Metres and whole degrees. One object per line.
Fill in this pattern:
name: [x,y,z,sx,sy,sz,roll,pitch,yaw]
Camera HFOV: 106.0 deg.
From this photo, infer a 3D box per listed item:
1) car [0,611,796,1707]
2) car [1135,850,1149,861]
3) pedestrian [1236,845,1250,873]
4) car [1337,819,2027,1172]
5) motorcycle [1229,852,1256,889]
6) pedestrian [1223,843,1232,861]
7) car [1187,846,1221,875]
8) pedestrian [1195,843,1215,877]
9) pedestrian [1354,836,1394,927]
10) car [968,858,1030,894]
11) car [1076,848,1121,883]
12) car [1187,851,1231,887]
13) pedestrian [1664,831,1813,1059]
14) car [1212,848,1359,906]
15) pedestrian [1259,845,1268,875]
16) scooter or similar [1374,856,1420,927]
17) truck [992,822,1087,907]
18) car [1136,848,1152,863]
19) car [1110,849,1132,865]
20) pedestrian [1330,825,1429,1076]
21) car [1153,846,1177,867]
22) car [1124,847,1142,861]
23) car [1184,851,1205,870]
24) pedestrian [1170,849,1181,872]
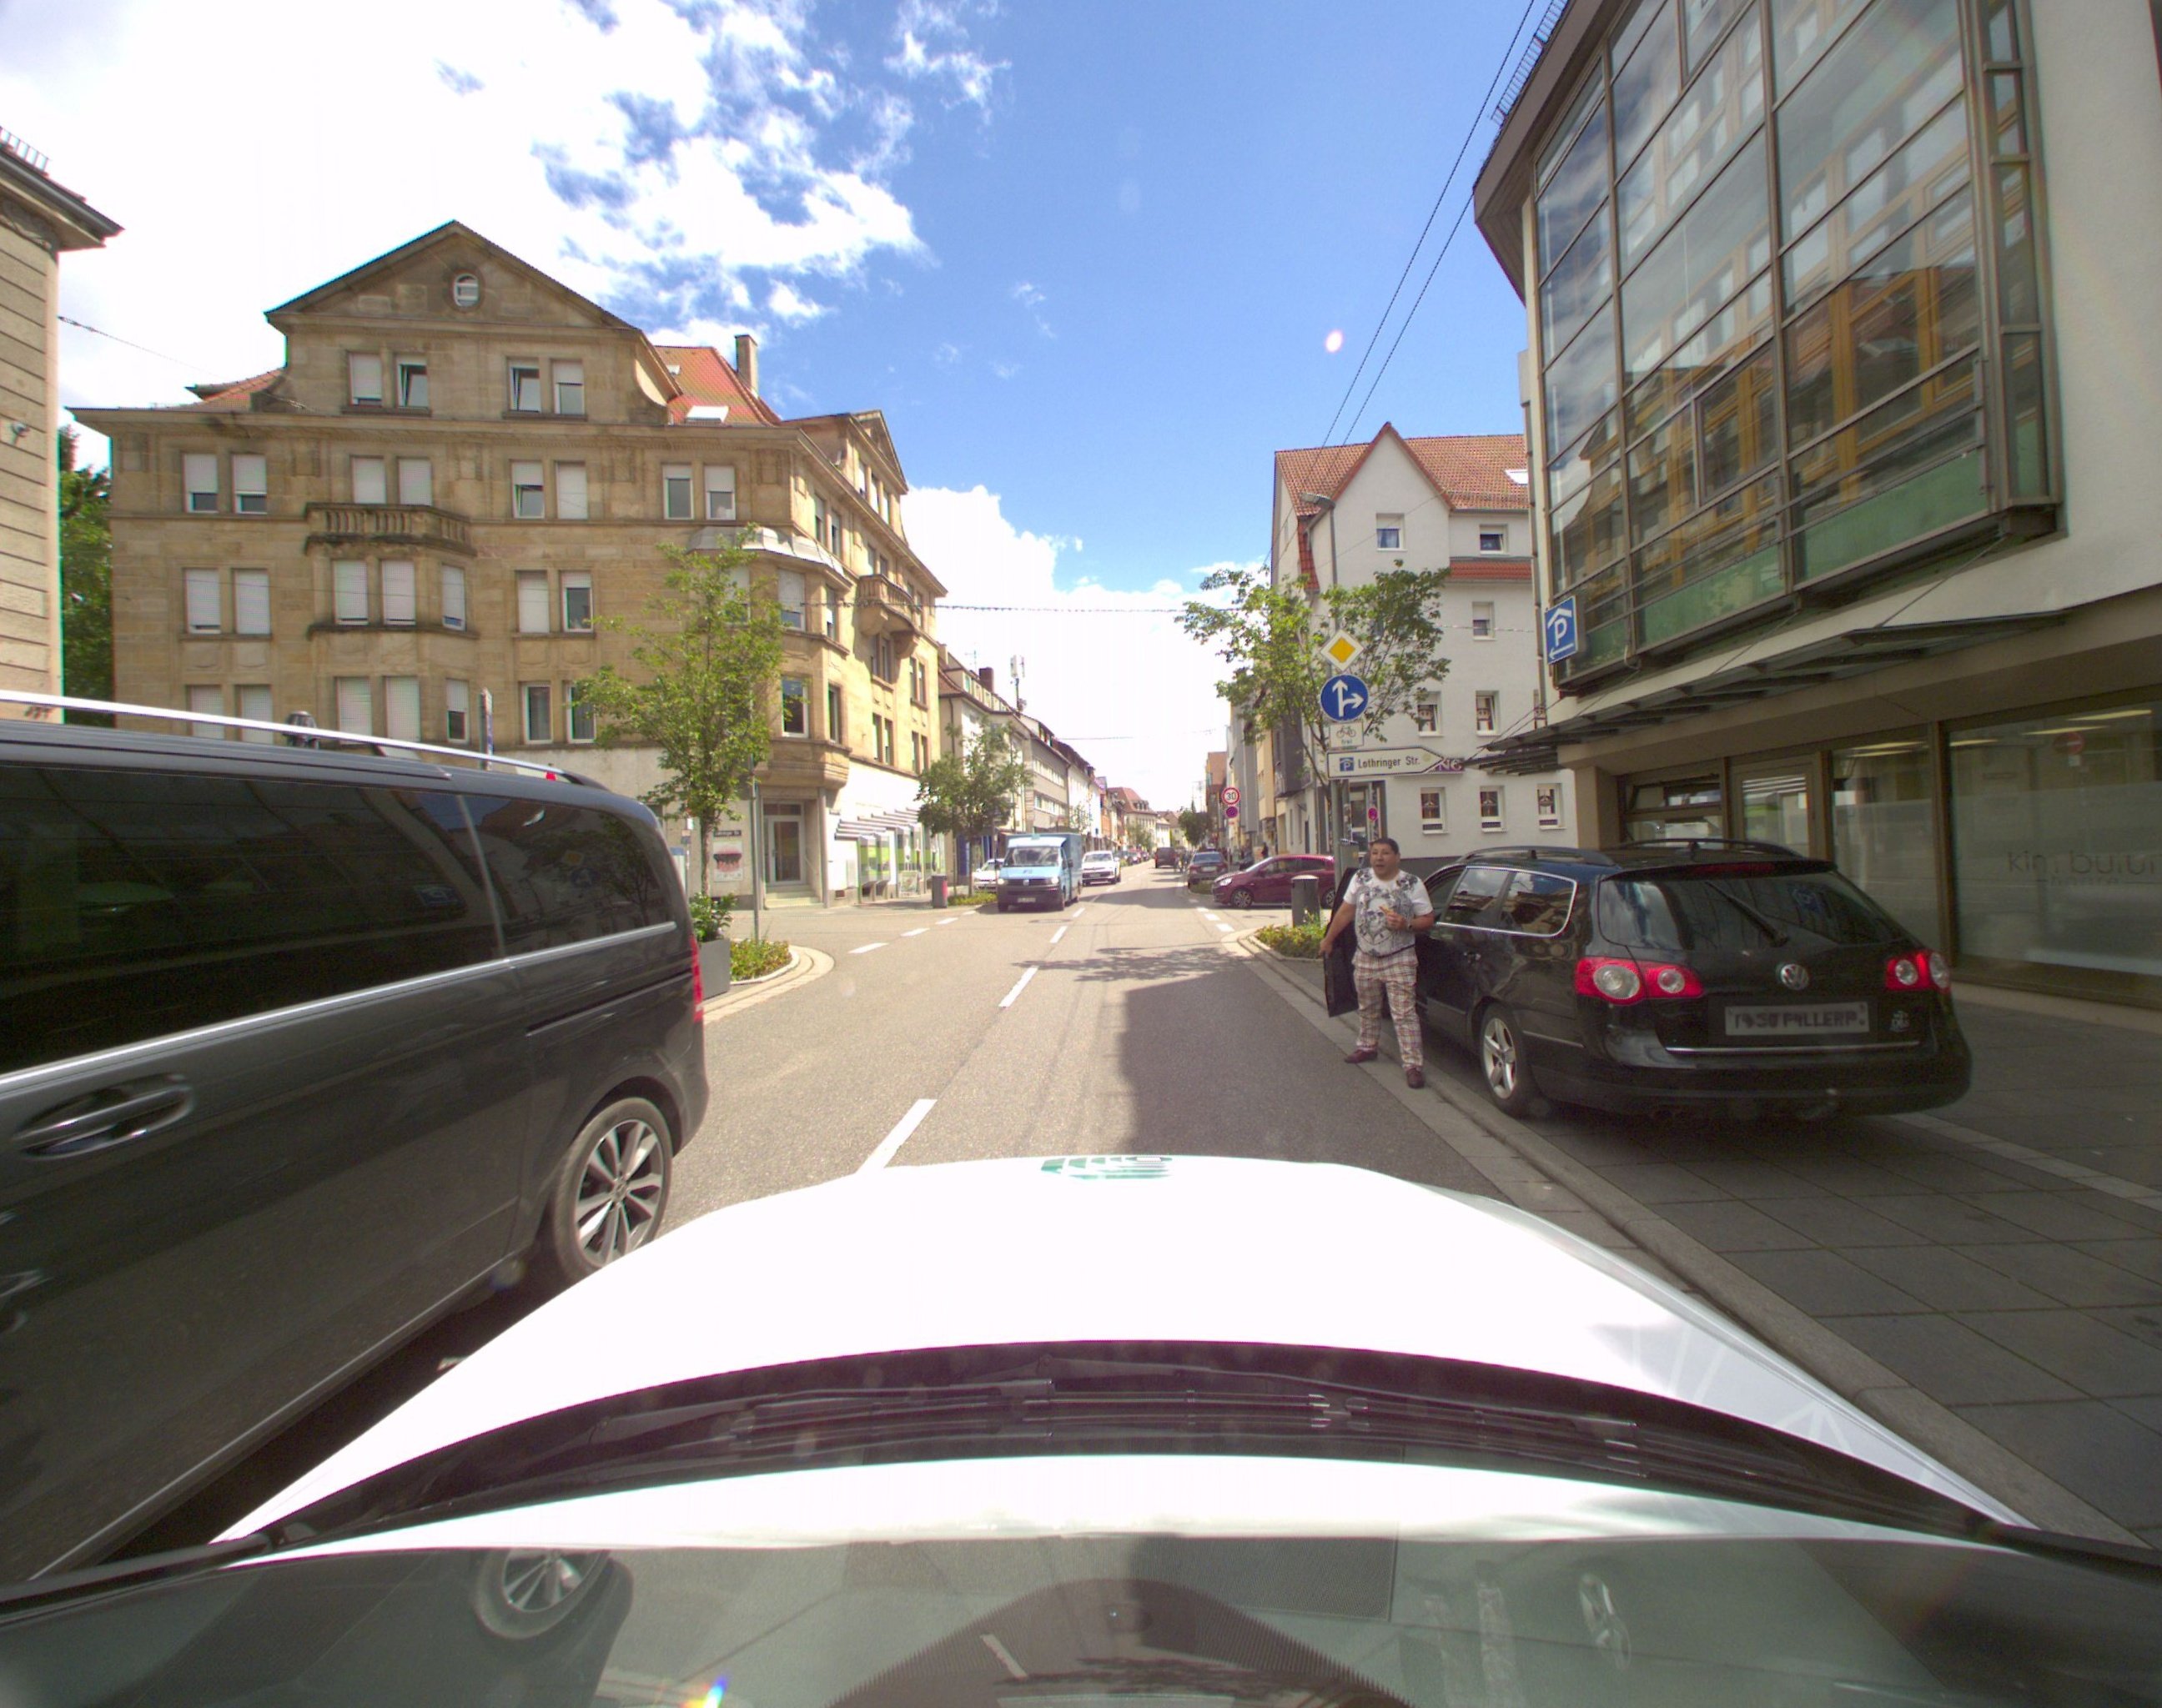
car: [-2.648,0.591,1.725,1.863,1.933,5.183,-2,1,4]
car: [9.249,0.225,123.801,1.789,1.598,4.398,-1,0,8]
pedestrian: [10.088,0.319,50.856,0.740,1.718,0.657,-2,-1,6]
car: [3.217,0.600,5.695,1.707,1.454,4.558,-2,0,4]
motorcycle: [5.759,0.573,29.166,0.656,1.259,2.378,0,-1,4]
pedestrian: [12.932,-0.173,71.952,0.746,1.553,0.727,-2,-1,6]
car: [7.501,0.352,49.836,1.790,1.603,4.211,-4,0,6]
pedestrian: [7.170,0.355,47.191,0.970,1.863,0.866,-4,-1,6]
pedestrian: [5.581,0.525,15.517,0.569,1.703,0.481,0,-1,0]
car: [-3.312,0.865,33.621,1.837,1.398,4.042,0,-1,5]
car: [0.904,0.551,39.992,1.778,1.640,4.124,-1,-1,7]
car: [5.420,0.610,34.232,1.696,1.420,4.330,-1,-1,10]
pedestrian: [4.693,0.629,5.842,0.656,1.562,0.478,0,-1,4]
car: [5.544,0.618,22.428,3.727,1.530,1.540,0,-1,6]
pedestrian: [10.555,0.370,47.069,0.433,1.718,0.538,0,-1,5]
scooter or similar: [5.930,0.682,15.333,0.429,1.280,1.250,0,-1,3]
truck: [-1.108,0.322,25.317,2.097,2.305,6.483,0,-1,4]
car: [8.650,0.220,111.726,1.806,1.889,4.852,-1,-1,8]
car: [4.474,0.349,90.675,1.805,1.755,4.682,-1,-1,10]
pedestrian: [2.051,0.621,5.574,0.578,1.600,0.551,-1,-1,24]
car: [7.634,0.268,73.643,2.029,1.848,5.010,-1,-1,8]
car: [6.675,0.004,103.753,1.805,1.755,4.475,-1,-1,9]
car: [9.716,0.492,69.795,1.680,1.472,4.533,0,1,7]
pedestrian: [6.595,0.465,56.679,0.728,1.618,0.652,0,-1,2]
